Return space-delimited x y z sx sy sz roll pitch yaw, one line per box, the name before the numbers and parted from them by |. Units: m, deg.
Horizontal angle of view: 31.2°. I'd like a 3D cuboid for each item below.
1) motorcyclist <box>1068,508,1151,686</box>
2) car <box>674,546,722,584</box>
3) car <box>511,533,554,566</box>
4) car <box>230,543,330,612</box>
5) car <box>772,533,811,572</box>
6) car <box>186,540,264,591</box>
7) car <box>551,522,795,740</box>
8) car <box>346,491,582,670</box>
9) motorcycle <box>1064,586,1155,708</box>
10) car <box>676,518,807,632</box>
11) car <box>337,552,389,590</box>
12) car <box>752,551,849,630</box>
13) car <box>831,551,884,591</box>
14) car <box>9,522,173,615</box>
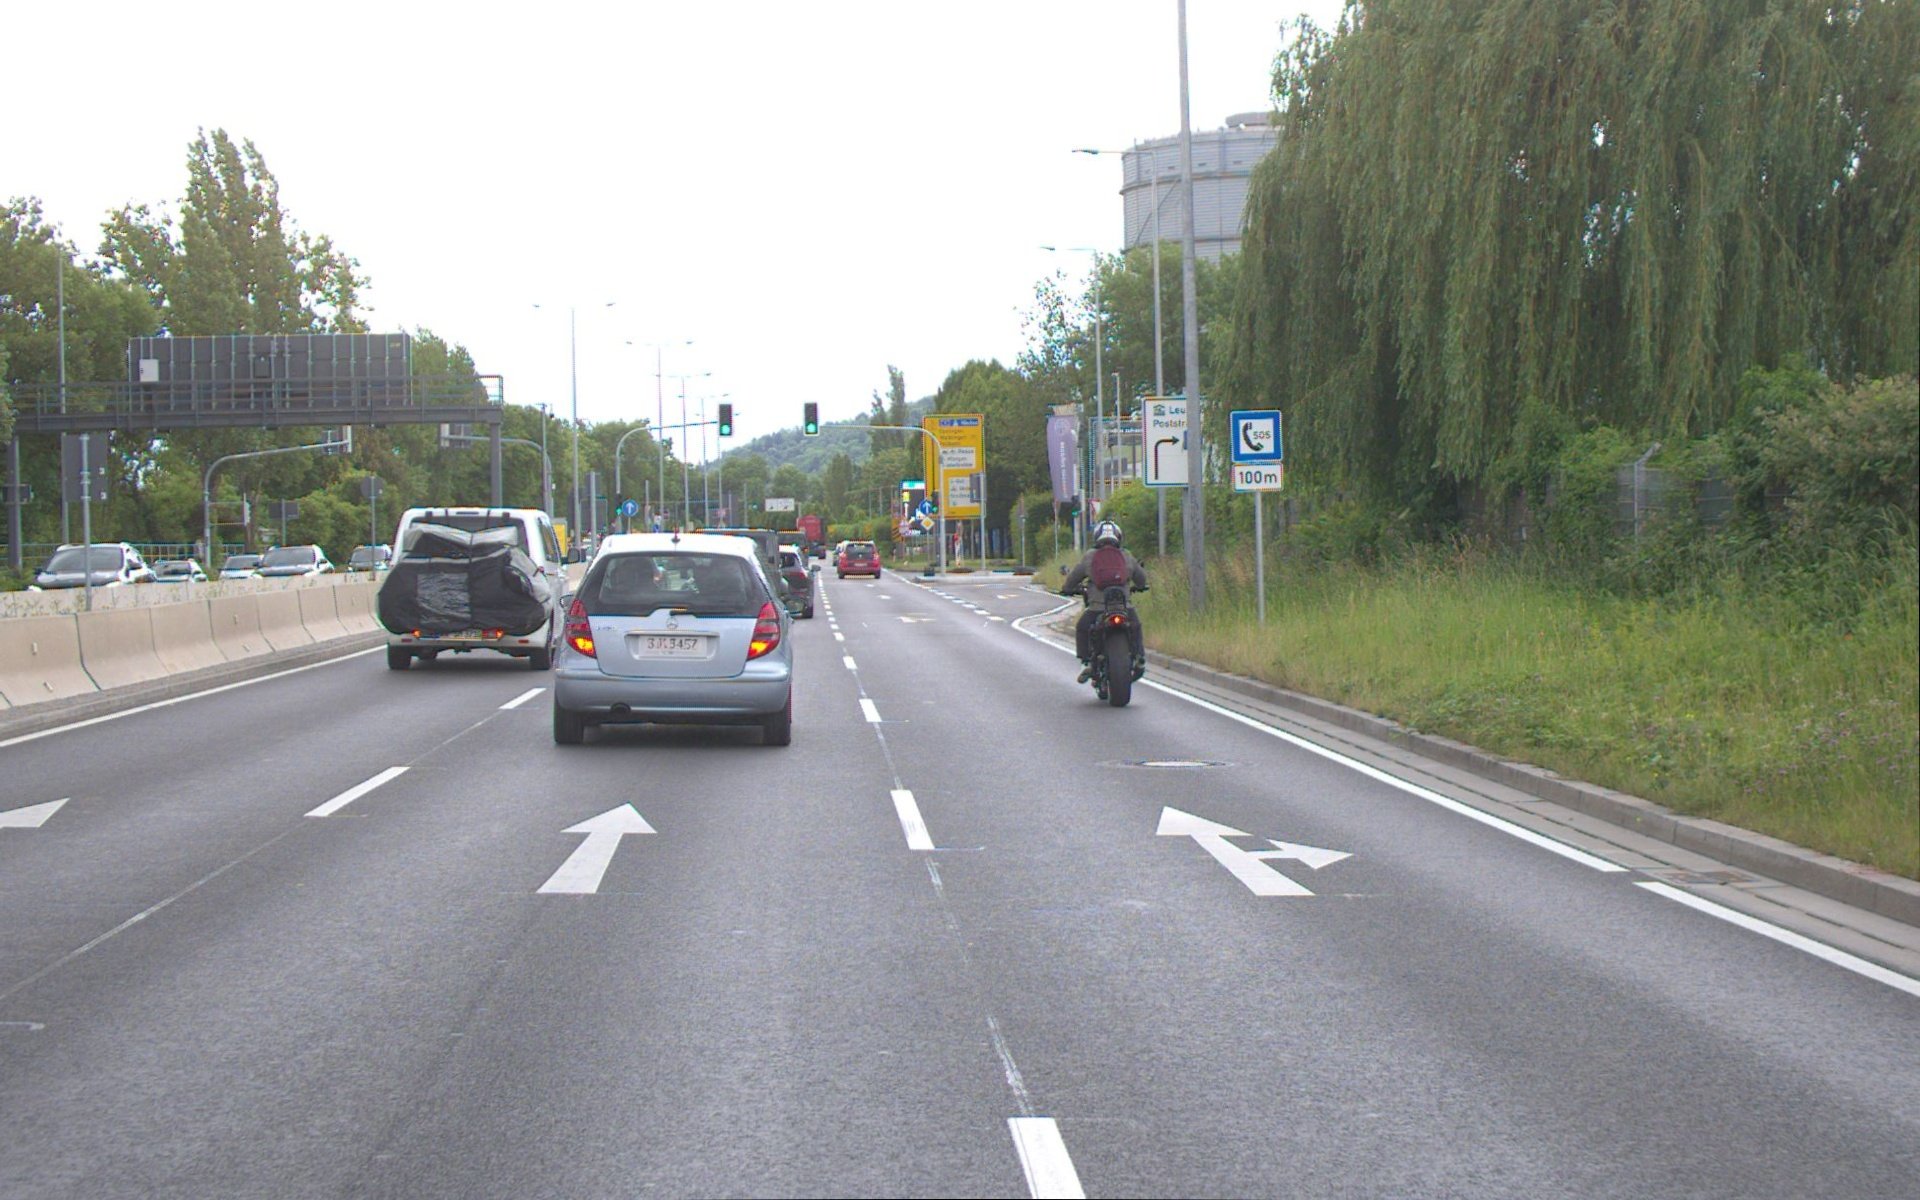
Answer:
motorcyclist | 1.375 -0.034 31.796 0.684 1.604 0.845 1 1 -1
car | -11.226 -1.503 147.485 1.993 1.546 4.001 1 1 -3
car | -22.618 -2.676 182.088 1.877 1.677 4.126 1 1 -3
car | -18.210 -0.624 92.249 1.993 1.733 4.001 1 1 -2
car | -8.869 -2.507 181.267 1.993 2.007 4.001 1 1 -2
car | -25.959 -1.229 121.575 1.993 1.733 4.001 1 1 -2
car | -2.161 0.181 26.709 1.710 1.525 4.001 1 1 -3
car | -5.719 -0.263 40.261 2.214 1.919 5.003 1 1 -3
motorcycle | 1.370 0.418 31.746 0.706 1.036 2.027 1 1 -1
car | -3.401 -0.419 54.013 1.907 1.678 4.001 1 1 -2
car | -27.818 -1.367 160.325 1.877 1.677 3.928 1 1 -3
car | -3.178 -0.206 68.503 1.840 1.459 4.001 1 1 -3
car | -4.145 -1.186 138.935 1.993 1.546 4.001 1 1 -3
car | -16.122 -0.616 64.024 1.993 1.612 4.697 1 1 -2
